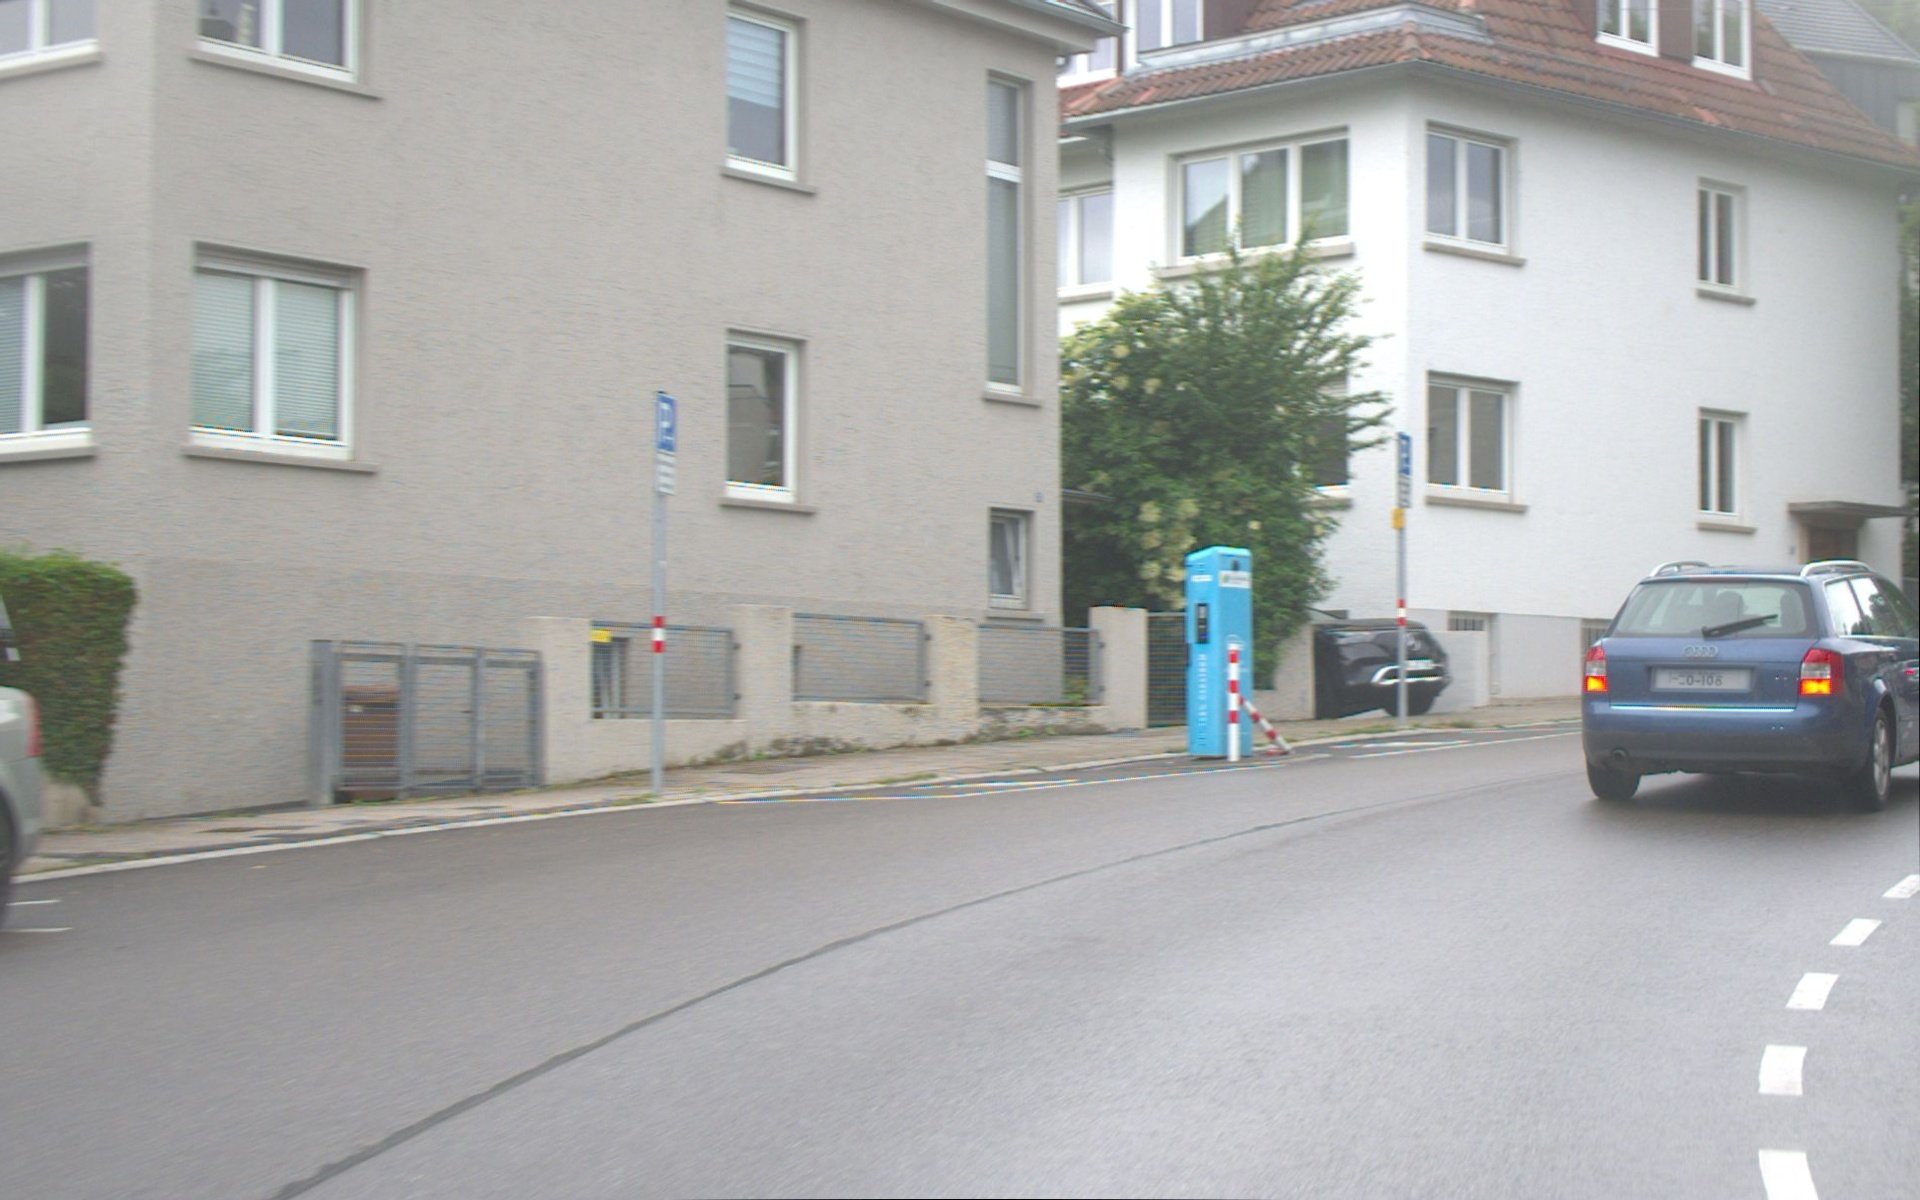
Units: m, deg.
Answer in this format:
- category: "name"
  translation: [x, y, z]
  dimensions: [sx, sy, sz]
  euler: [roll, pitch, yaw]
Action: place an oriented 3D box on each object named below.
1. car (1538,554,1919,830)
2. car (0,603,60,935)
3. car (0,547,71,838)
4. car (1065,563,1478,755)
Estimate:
- category: "car"
  translation: [5.116, 0.482, 21.295]
  dimensions: [1.814, 1.434, 4.075]
  euler: [2, 2, 28]
- category: "car"
  translation: [-5.402, 0.766, 13.458]
  dimensions: [1.837, 1.420, 4.227]
  euler: [-1, 0, 13]
- category: "car"
  translation: [-8.000, 0.727, 21.877]
  dimensions: [3.990, 1.817, 1.998]
  euler: [-5, -1, 20]
- category: "car"
  translation: [3.467, 0.687, 38.902]
  dimensions: [1.995, 1.618, 4.250]
  euler: [-1, -7, -44]
